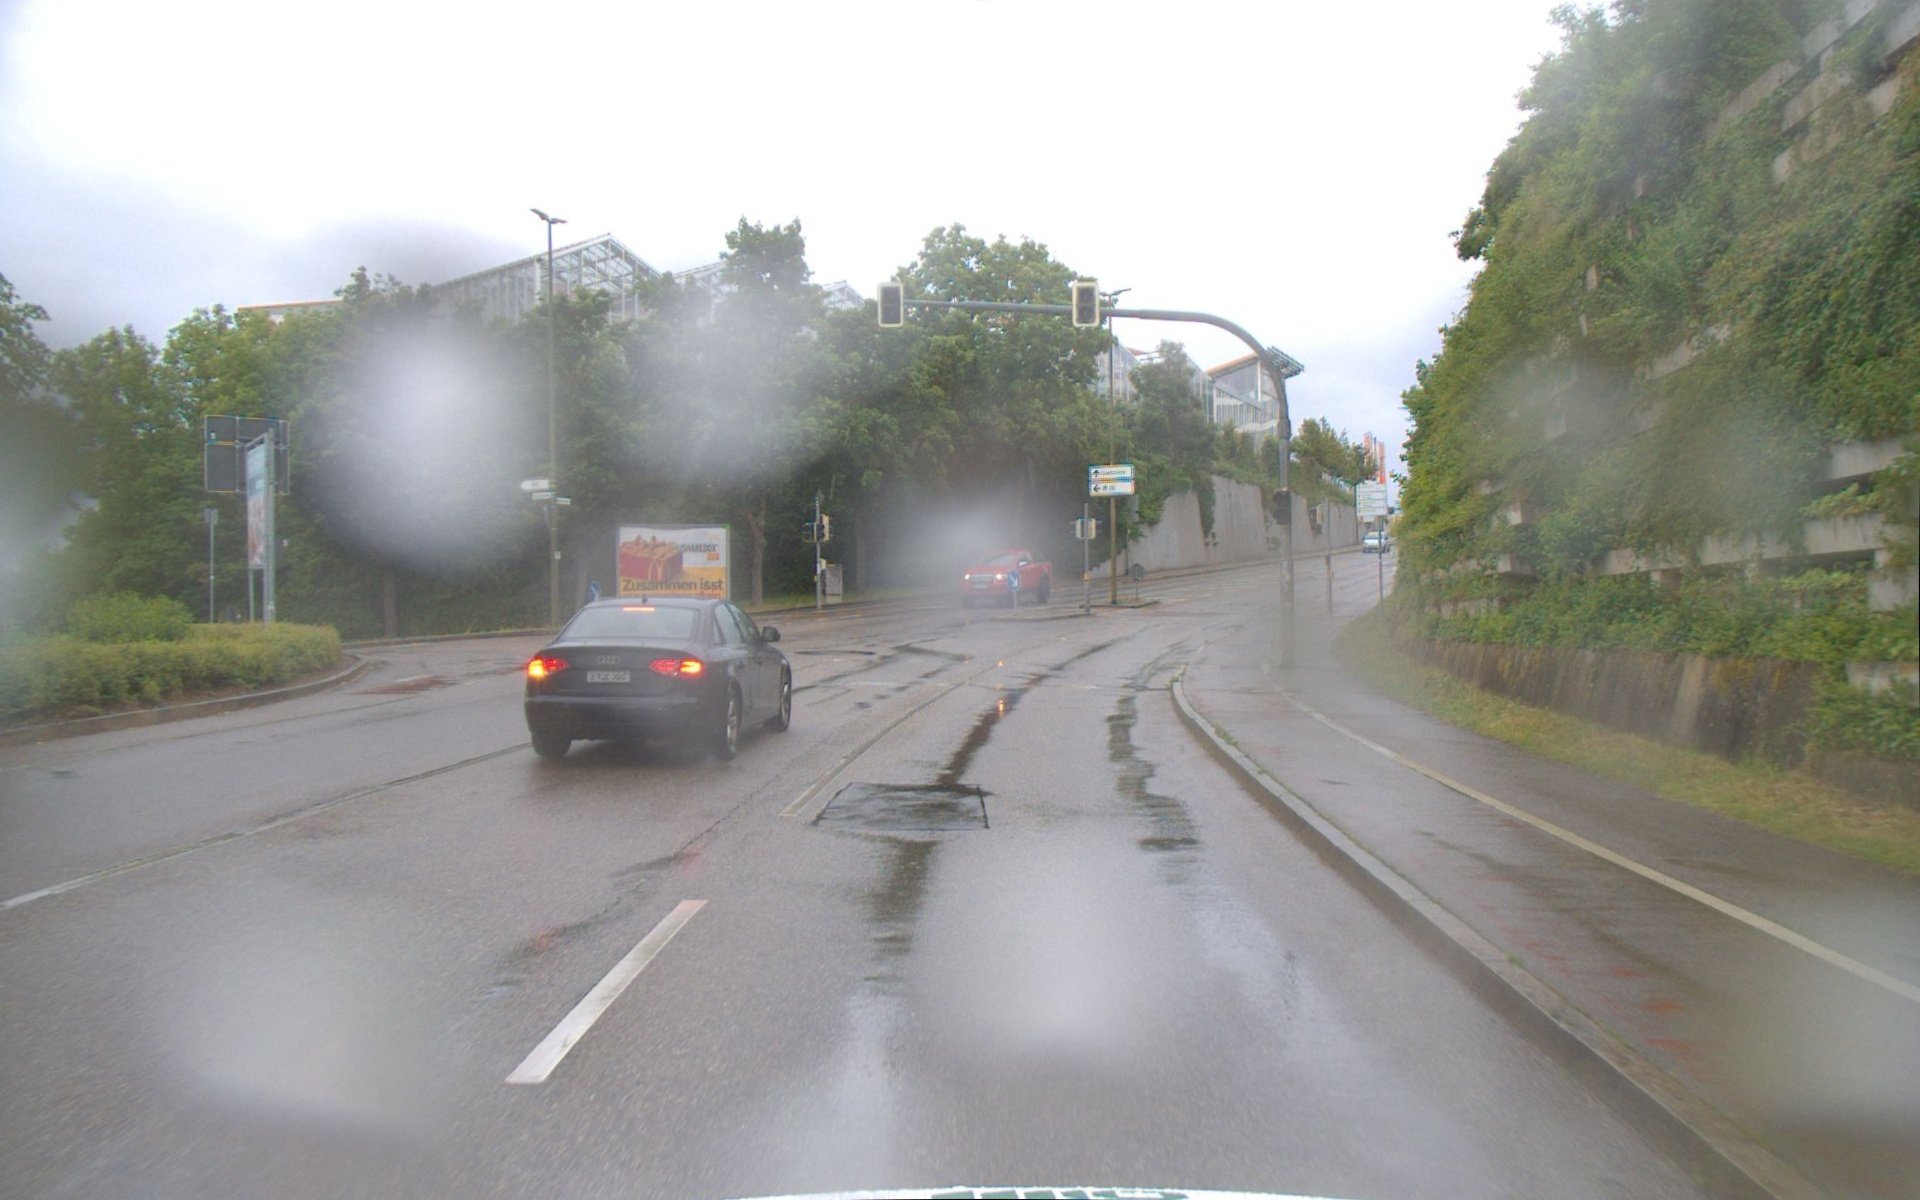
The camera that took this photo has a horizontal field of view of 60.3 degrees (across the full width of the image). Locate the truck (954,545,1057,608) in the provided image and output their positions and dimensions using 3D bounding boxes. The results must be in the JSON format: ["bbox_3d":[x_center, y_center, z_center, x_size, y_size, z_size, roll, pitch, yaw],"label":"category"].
[{"bbox_3d":[1.658,-0.874,57.849,1.952,2.048,5.340,1,2,21],"label":"truck"}]

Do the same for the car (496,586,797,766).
[{"bbox_3d":[-2.722,0.588,15.271,1.717,1.420,4.003,0,1,5],"label":"car"}]
